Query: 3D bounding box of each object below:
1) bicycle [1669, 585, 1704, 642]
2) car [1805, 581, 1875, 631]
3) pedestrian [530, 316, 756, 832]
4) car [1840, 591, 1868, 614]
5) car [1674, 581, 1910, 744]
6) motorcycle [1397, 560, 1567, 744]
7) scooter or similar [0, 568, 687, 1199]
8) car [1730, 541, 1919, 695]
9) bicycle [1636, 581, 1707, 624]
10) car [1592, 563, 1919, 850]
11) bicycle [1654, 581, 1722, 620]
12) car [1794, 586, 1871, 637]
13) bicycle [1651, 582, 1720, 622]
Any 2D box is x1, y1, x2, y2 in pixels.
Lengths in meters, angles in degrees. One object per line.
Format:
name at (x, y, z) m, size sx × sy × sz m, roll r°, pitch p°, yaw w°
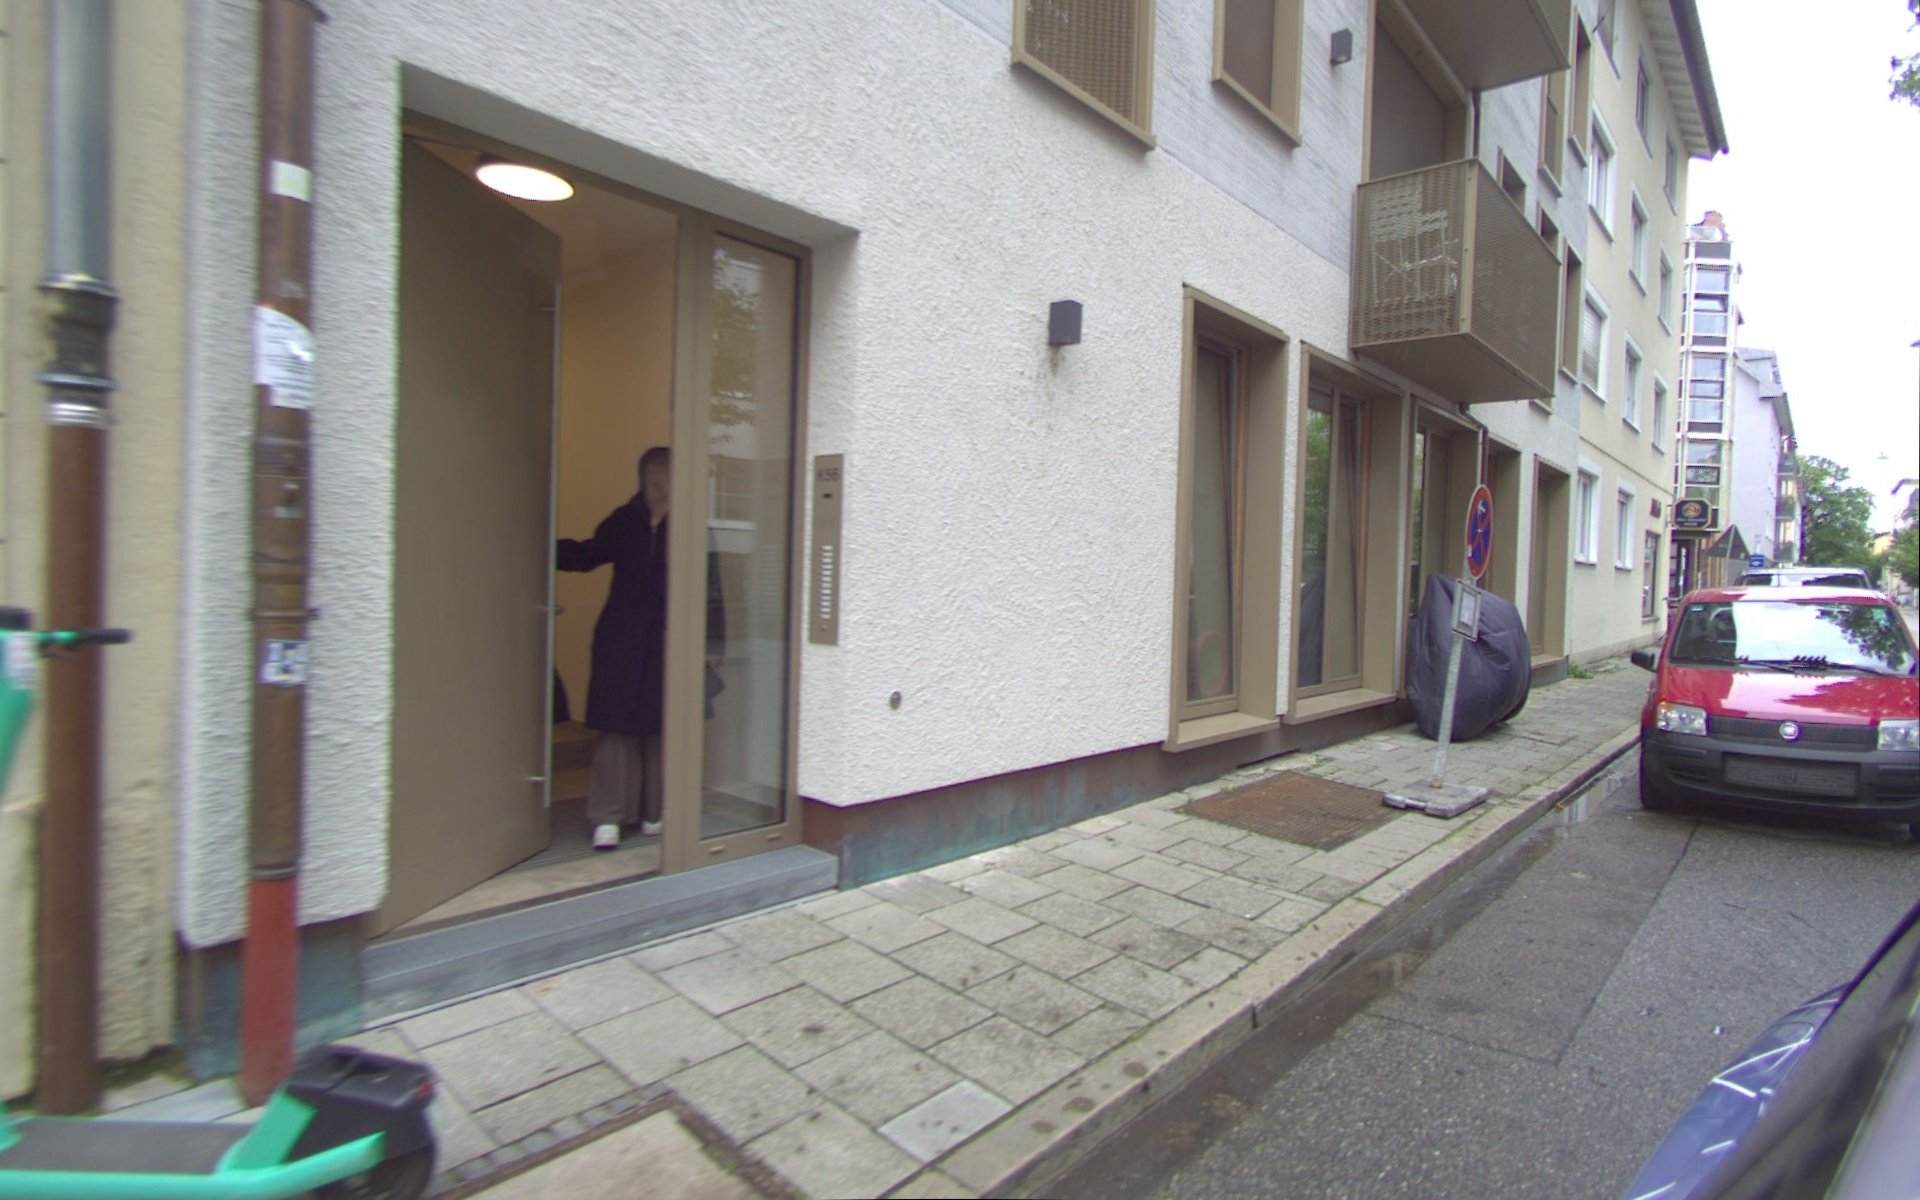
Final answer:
bicycle at (17.277, 0.300, 24.052) m, size 0.410 × 1.228 × 1.792 m, roll 6°, pitch 5°, yaw 41°
car at (30.836, 0.161, 35.561) m, size 1.718 × 1.636 × 4.391 m, roll 2°, pitch 1°, yaw 40°
pedestrian at (-1.361, -0.091, 4.327) m, size 0.776 × 2.037 × 0.438 m, roll 3°, pitch 4°, yaw -21°
car at (53.288, 0.133, 60.321) m, size 1.187 × 1.336 × 2.738 m, roll 2°, pitch 1°, yaw 42°
car at (9.466, 0.541, 11.399) m, size 1.768 × 1.479 × 4.312 m, roll 1°, pitch 1°, yaw 43°
motorcycle at (4.751, 0.410, 9.145) m, size 0.805 × 1.440 × 1.903 m, roll 7°, pitch 5°, yaw 42°
scooter or similar at (-1.424, 0.588, 2.055) m, size 1.575 × 1.197 × 0.496 m, roll 4°, pitch 3°, yaw -7°
car at (13.239, 0.210, 15.651) m, size 1.987 × 2.001 × 4.816 m, roll 1°, pitch 1°, yaw 39°
bicycle at (23.536, 0.060, 33.506) m, size 1.780 × 1.339 × 0.585 m, roll 2°, pitch 3°, yaw 17°
car at (6.070, 0.552, 7.342) m, size 1.772 × 1.543 × 4.002 m, roll 1°, pitch 1°, yaw 43°
bicycle at (25.495, -0.002, 35.481) m, size 0.581 × 1.244 × 1.882 m, roll 1°, pitch 3°, yaw -19°
car at (27.109, 0.312, 31.537) m, size 1.718 × 1.453 × 4.296 m, roll 2°, pitch 1°, yaw 40°
bicycle at (24.234, 0.048, 33.818) m, size 0.435 × 1.201 × 1.752 m, roll 0°, pitch 4°, yaw -42°
